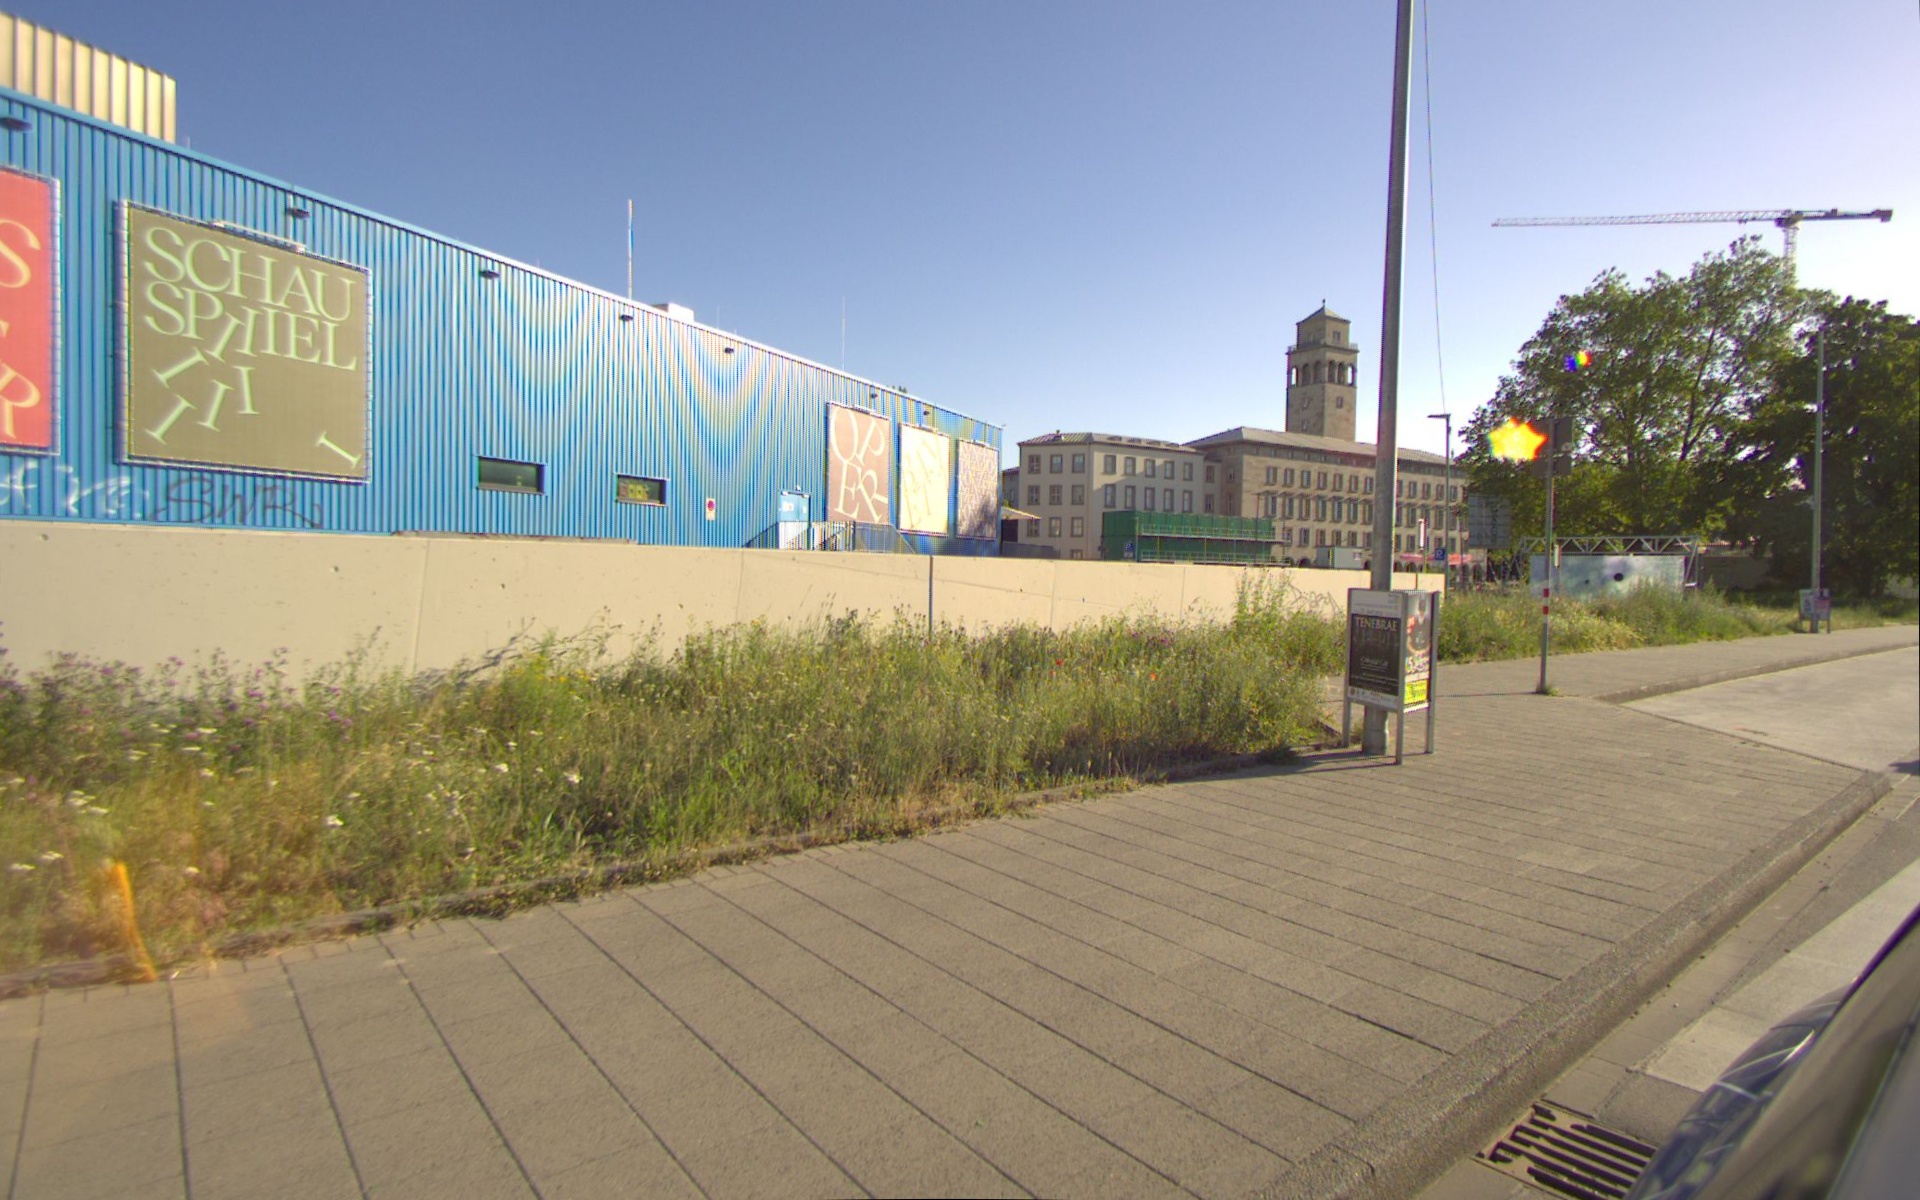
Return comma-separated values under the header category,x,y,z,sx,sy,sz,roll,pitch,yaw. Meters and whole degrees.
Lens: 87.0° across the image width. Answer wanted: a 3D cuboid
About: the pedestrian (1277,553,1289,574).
category,x,y,z,sx,sy,sz,roll,pitch,yaw
pedestrian,21.392,-2.418,66.955,0.432,1.312,0.574,-2,0,-25
